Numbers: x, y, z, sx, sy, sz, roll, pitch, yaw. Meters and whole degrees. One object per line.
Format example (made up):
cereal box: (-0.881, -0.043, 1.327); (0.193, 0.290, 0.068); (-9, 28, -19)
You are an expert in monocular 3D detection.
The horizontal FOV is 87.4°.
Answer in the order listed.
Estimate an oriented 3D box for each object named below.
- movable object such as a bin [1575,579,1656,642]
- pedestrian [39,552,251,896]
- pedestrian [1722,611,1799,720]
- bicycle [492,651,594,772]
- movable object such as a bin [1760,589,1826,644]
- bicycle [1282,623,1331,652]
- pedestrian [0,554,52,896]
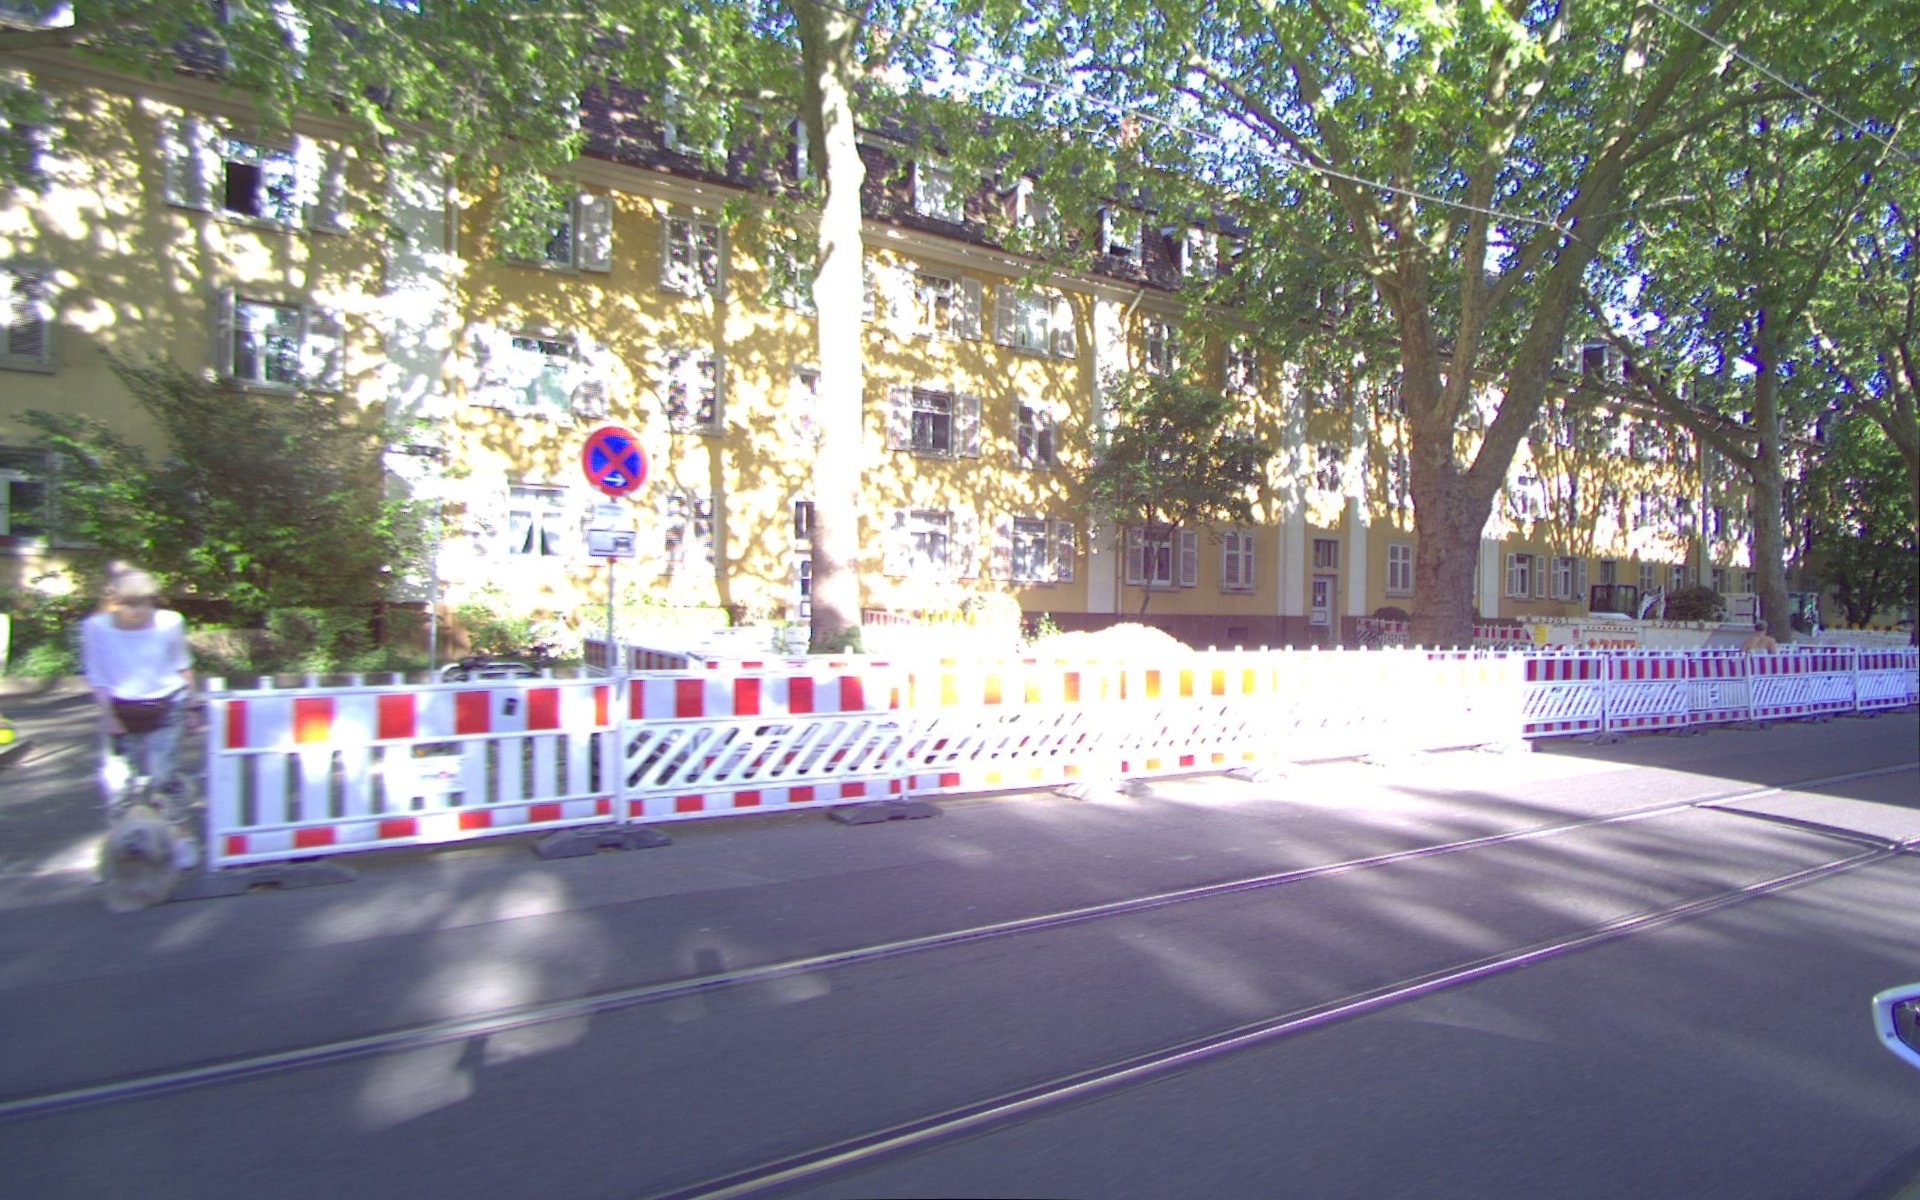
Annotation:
movable object such as a bin: (20.365, 0.326, 31.199); (1.984, 1.893, 1.327); (2, 1, -31)
pedestrian: (-4.585, 0.641, 5.722); (0.787, 1.768, 0.818); (1, 1, -30)
pedestrian: (13.030, 1.049, 16.353); (0.769, 1.691, 0.713); (1, 1, -30)
bicycle: (-4.170, 1.045, 9.966); (0.717, 0.975, 1.963); (1, 0, -29)
movable object such as a bin: (25.950, 0.506, 31.292); (1.541, 1.667, 1.092); (1, 1, -31)
bicycle: (10.162, 1.094, 29.421); (1.627, 0.829, 0.503); (1, 0, -35)
pedestrian: (-5.477, 0.629, 5.335); (0.787, 1.768, 0.818); (1, 1, -30)
